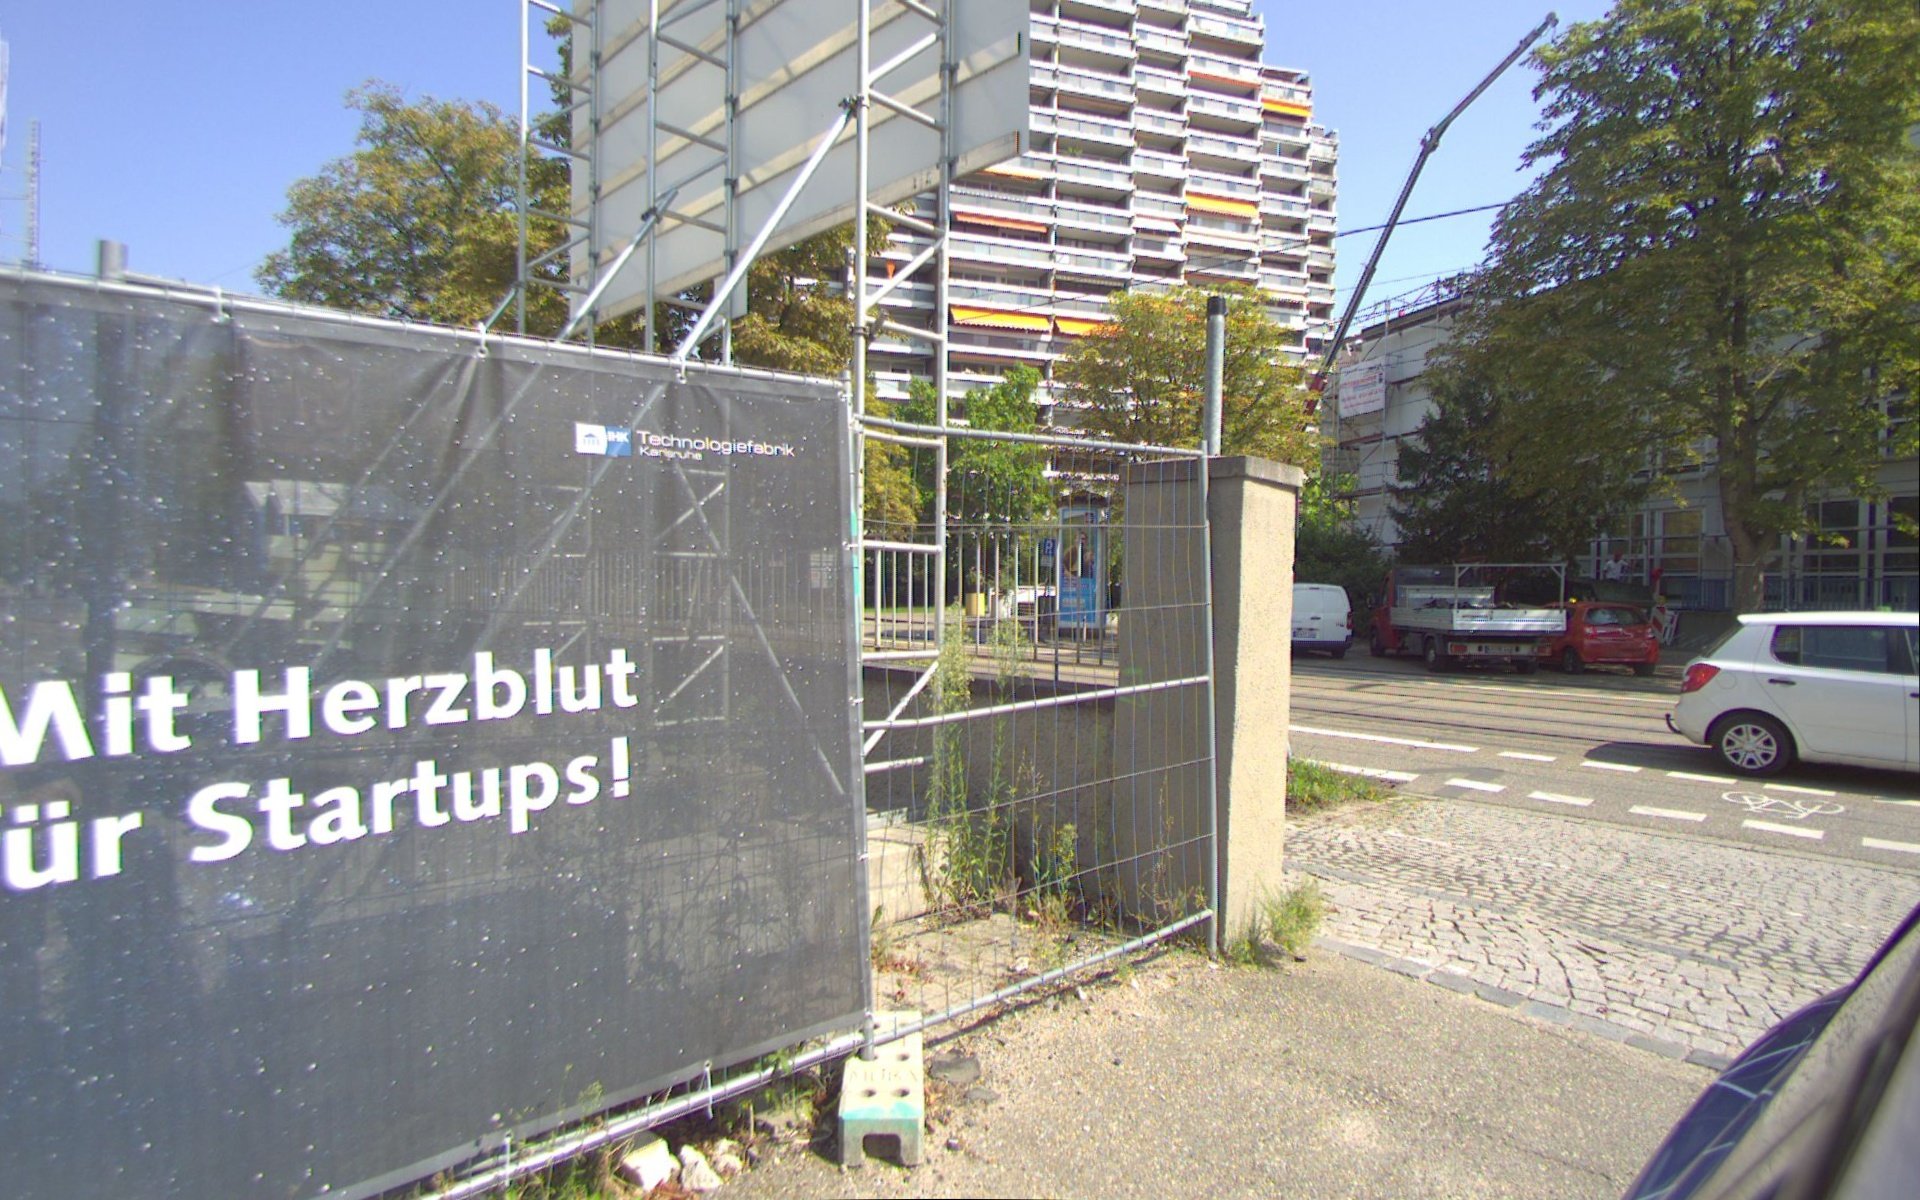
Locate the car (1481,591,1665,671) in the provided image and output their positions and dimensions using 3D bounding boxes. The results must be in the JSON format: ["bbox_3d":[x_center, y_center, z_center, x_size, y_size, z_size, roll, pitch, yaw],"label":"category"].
[{"bbox_3d":[13.031,0.592,21.824,1.689,1.527,3.858,1,1,2],"label":"car"}]

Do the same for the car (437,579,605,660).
[{"bbox_3d":[-9.129,0.337,20.831,1.651,1.476,4.652,1,0,-44],"label":"car"}]

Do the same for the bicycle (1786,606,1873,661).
[{"bbox_3d":[20.104,0.755,23.399,2.297,1.174,0.603,-1,2,-24],"label":"bicycle"}]

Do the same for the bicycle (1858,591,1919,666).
[{"bbox_3d":[20.659,0.599,22.154,2.297,1.544,0.603,-1,2,-24],"label":"bicycle"}]

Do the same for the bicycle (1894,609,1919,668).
[{"bbox_3d":[20.909,0.798,21.573,2.297,1.183,0.603,-1,2,-24],"label":"bicycle"}]

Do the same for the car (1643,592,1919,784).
[{"bbox_3d":[8.533,0.728,8.826,1.795,1.510,4.009,-2,2,-44],"label":"car"}]

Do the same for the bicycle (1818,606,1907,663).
[{"bbox_3d":[20.359,0.760,22.817,2.297,1.174,0.603,-1,2,-24],"label":"bicycle"}]

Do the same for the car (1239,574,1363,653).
[{"bbox_3d":[8.466,0.285,25.520,1.792,1.794,4.283,1,1,3],"label":"car"}]

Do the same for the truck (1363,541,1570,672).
[{"bbox_3d":[10.856,0.087,22.304,2.114,2.465,5.958,1,0,7],"label":"truck"}]

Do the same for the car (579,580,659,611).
[{"bbox_3d":[-17.837,-0.263,53.186,1.758,1.516,4.269,0,1,19],"label":"car"}]

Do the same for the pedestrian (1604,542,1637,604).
[{"bbox_3d":[19.667,-0.802,30.149,0.733,1.810,0.822,1,0,27],"label":"pedestrian"}]
